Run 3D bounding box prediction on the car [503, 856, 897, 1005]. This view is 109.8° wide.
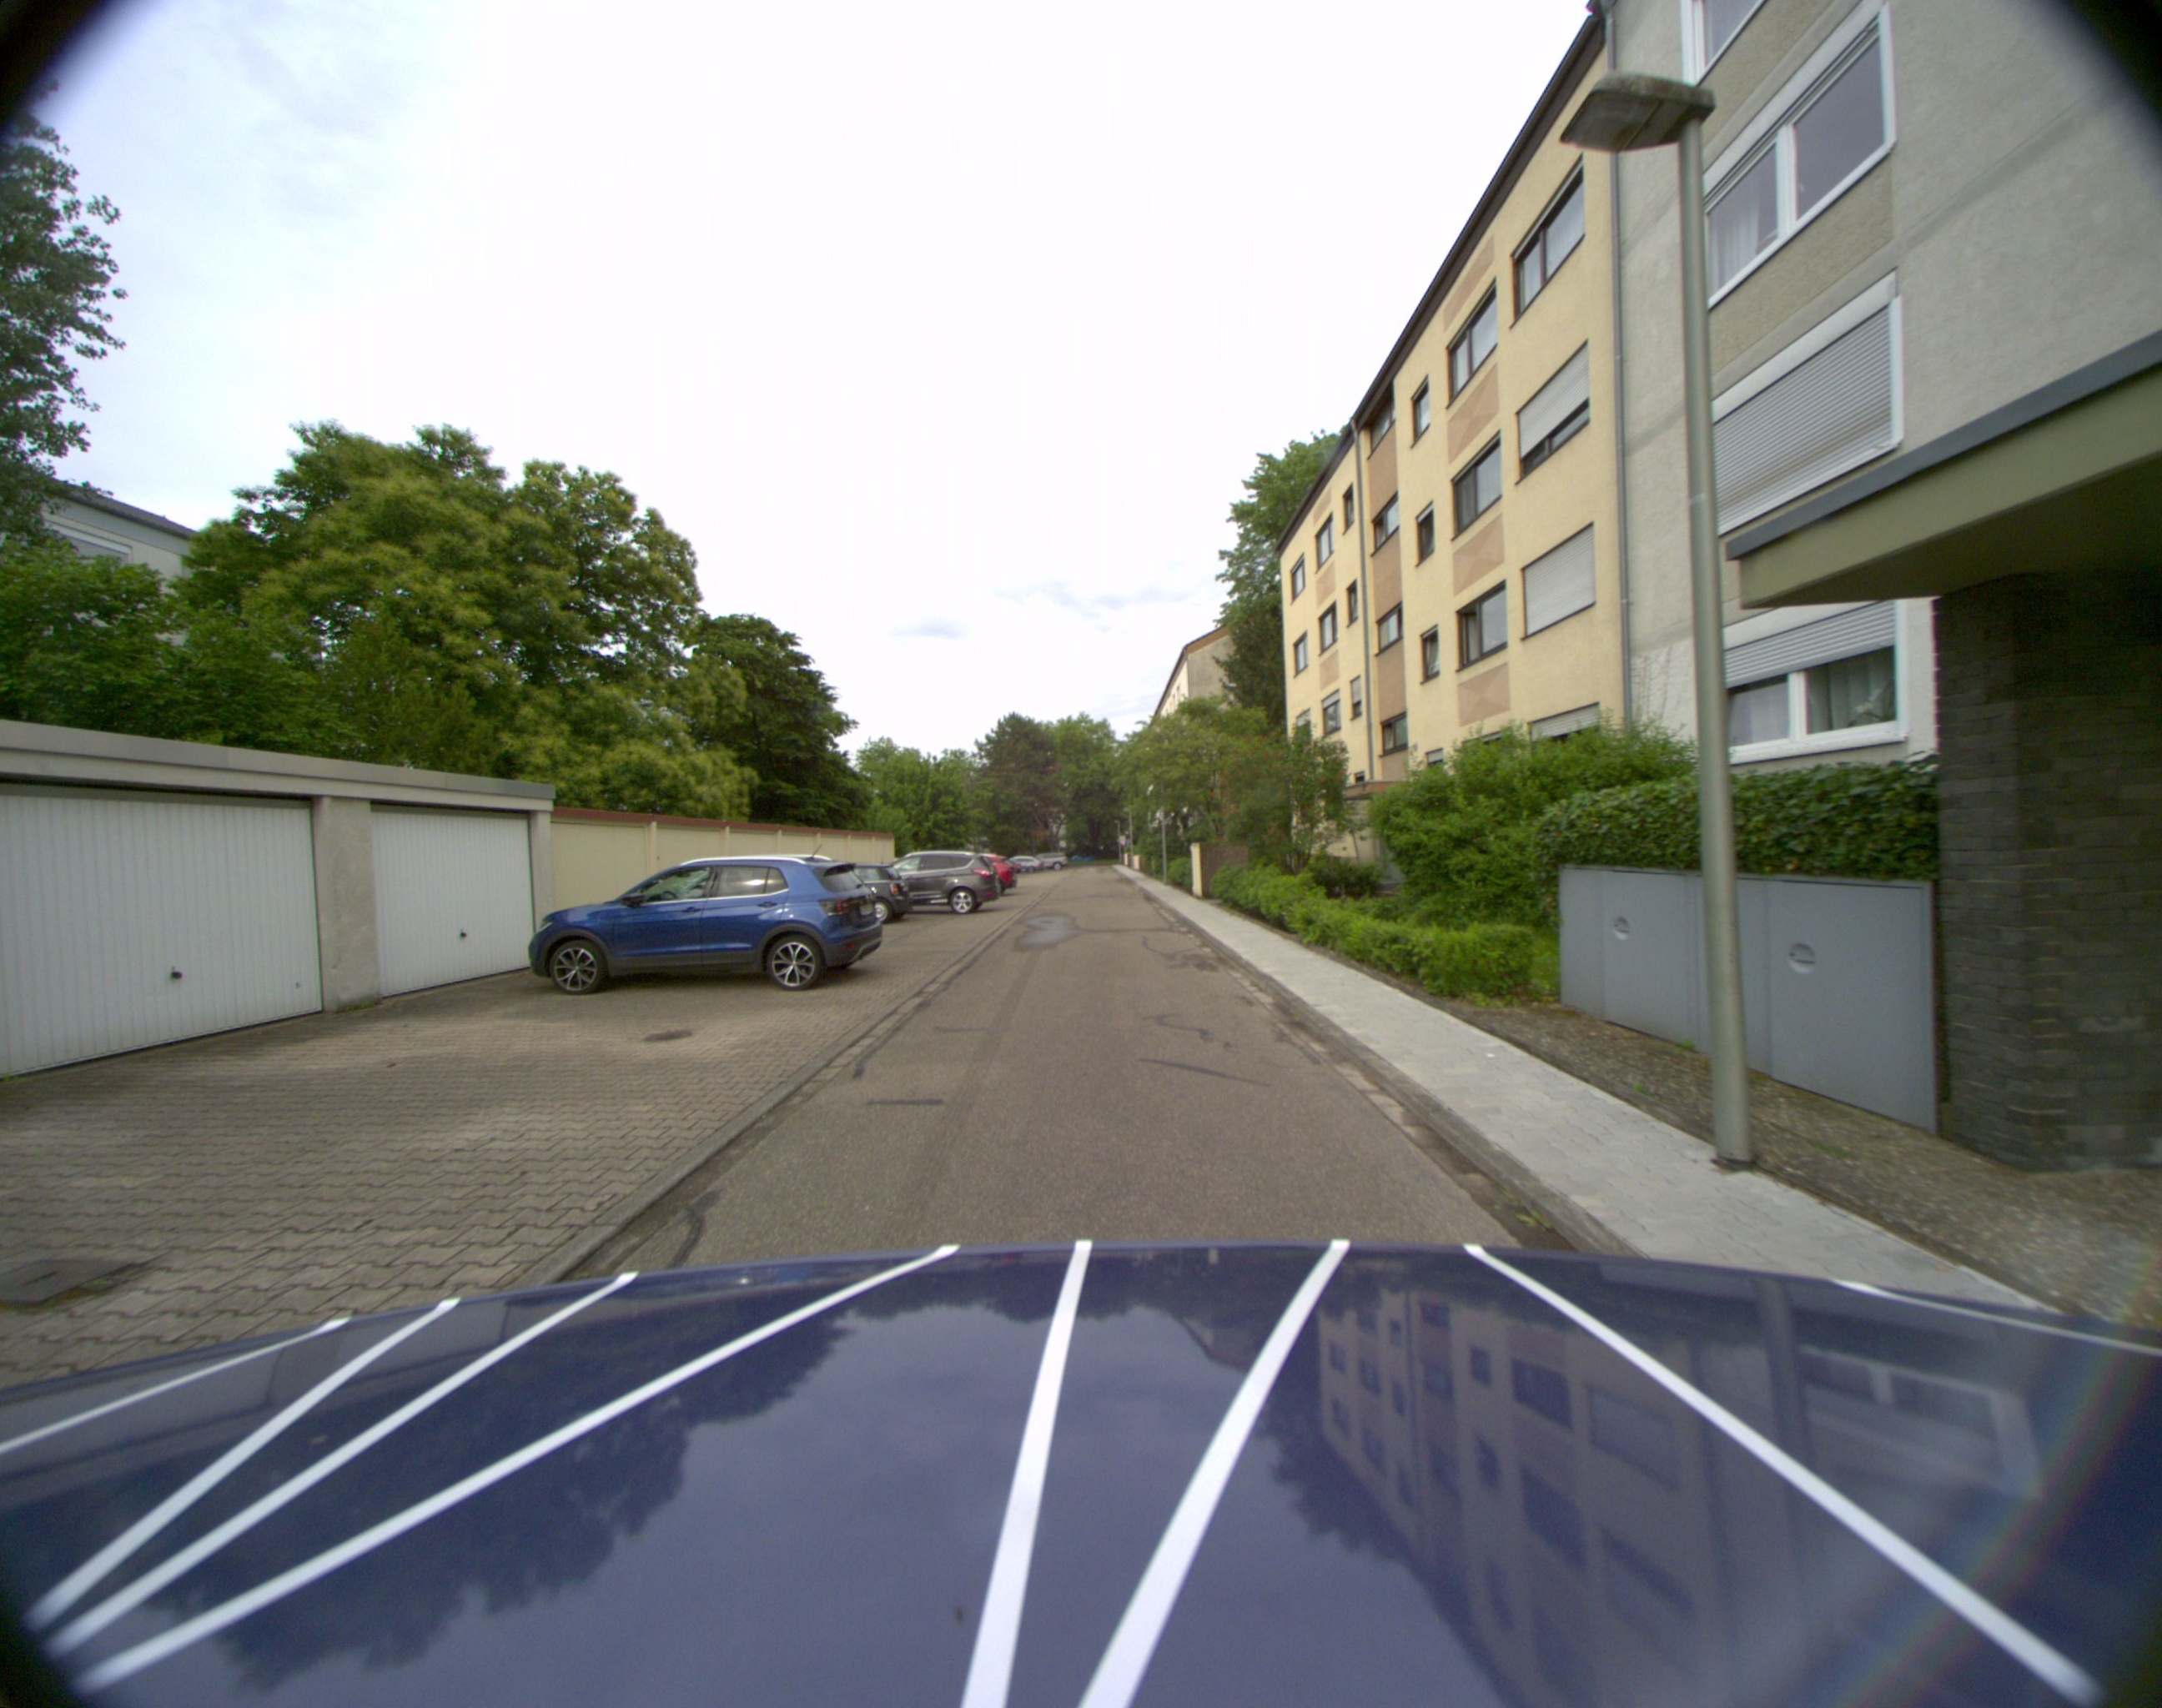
[{"bbox_3d":[-4.598,0.882,9.694,3.997,1.693,2.000,0,0,0],"label":"car"}]

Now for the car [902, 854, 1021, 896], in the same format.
[{"bbox_3d":[-4.564,0.780,29.548,4.299,1.577,1.935,0,0,0],"label":"car"}]

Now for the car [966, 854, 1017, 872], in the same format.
[{"bbox_3d":[-7.662,0.783,65.090,4.103,1.476,1.787,1,0,1],"label":"car"}]

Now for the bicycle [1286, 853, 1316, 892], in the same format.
[{"bbox_3d":[6.179,0.509,21.382,0.315,1.045,1.691,-2,-1,0],"label":"bicycle"}]

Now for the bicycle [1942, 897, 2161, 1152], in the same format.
[{"bbox_3d":[4.908,0.771,3.349,0.454,1.028,1.546,-4,0,2],"label":"bicycle"}]

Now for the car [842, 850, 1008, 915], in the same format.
[{"bbox_3d":[-4.258,0.751,21.221,4.205,1.717,2.000,0,0,0],"label":"car"}]

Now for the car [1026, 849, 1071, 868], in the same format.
[{"bbox_3d":[-3.050,0.453,72.395,4.104,1.636,1.787,-2,1,0],"label":"car"}]

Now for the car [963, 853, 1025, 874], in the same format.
[{"bbox_3d":[-6.465,0.710,56.577,4.334,1.476,1.787,1,0,1],"label":"car"}]

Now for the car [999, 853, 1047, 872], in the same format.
[{"bbox_3d":[-5.115,0.754,67.398,4.104,1.476,1.787,-2,1,0],"label":"car"}]

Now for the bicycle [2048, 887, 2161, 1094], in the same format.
[{"bbox_3d":[5.739,0.720,3.585,0.374,1.028,1.546,-4,0,2],"label":"bicycle"}]

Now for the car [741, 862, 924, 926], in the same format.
[{"bbox_3d":[-5.908,0.925,18.418,3.766,1.437,2.000,0,0,0],"label":"car"}]
